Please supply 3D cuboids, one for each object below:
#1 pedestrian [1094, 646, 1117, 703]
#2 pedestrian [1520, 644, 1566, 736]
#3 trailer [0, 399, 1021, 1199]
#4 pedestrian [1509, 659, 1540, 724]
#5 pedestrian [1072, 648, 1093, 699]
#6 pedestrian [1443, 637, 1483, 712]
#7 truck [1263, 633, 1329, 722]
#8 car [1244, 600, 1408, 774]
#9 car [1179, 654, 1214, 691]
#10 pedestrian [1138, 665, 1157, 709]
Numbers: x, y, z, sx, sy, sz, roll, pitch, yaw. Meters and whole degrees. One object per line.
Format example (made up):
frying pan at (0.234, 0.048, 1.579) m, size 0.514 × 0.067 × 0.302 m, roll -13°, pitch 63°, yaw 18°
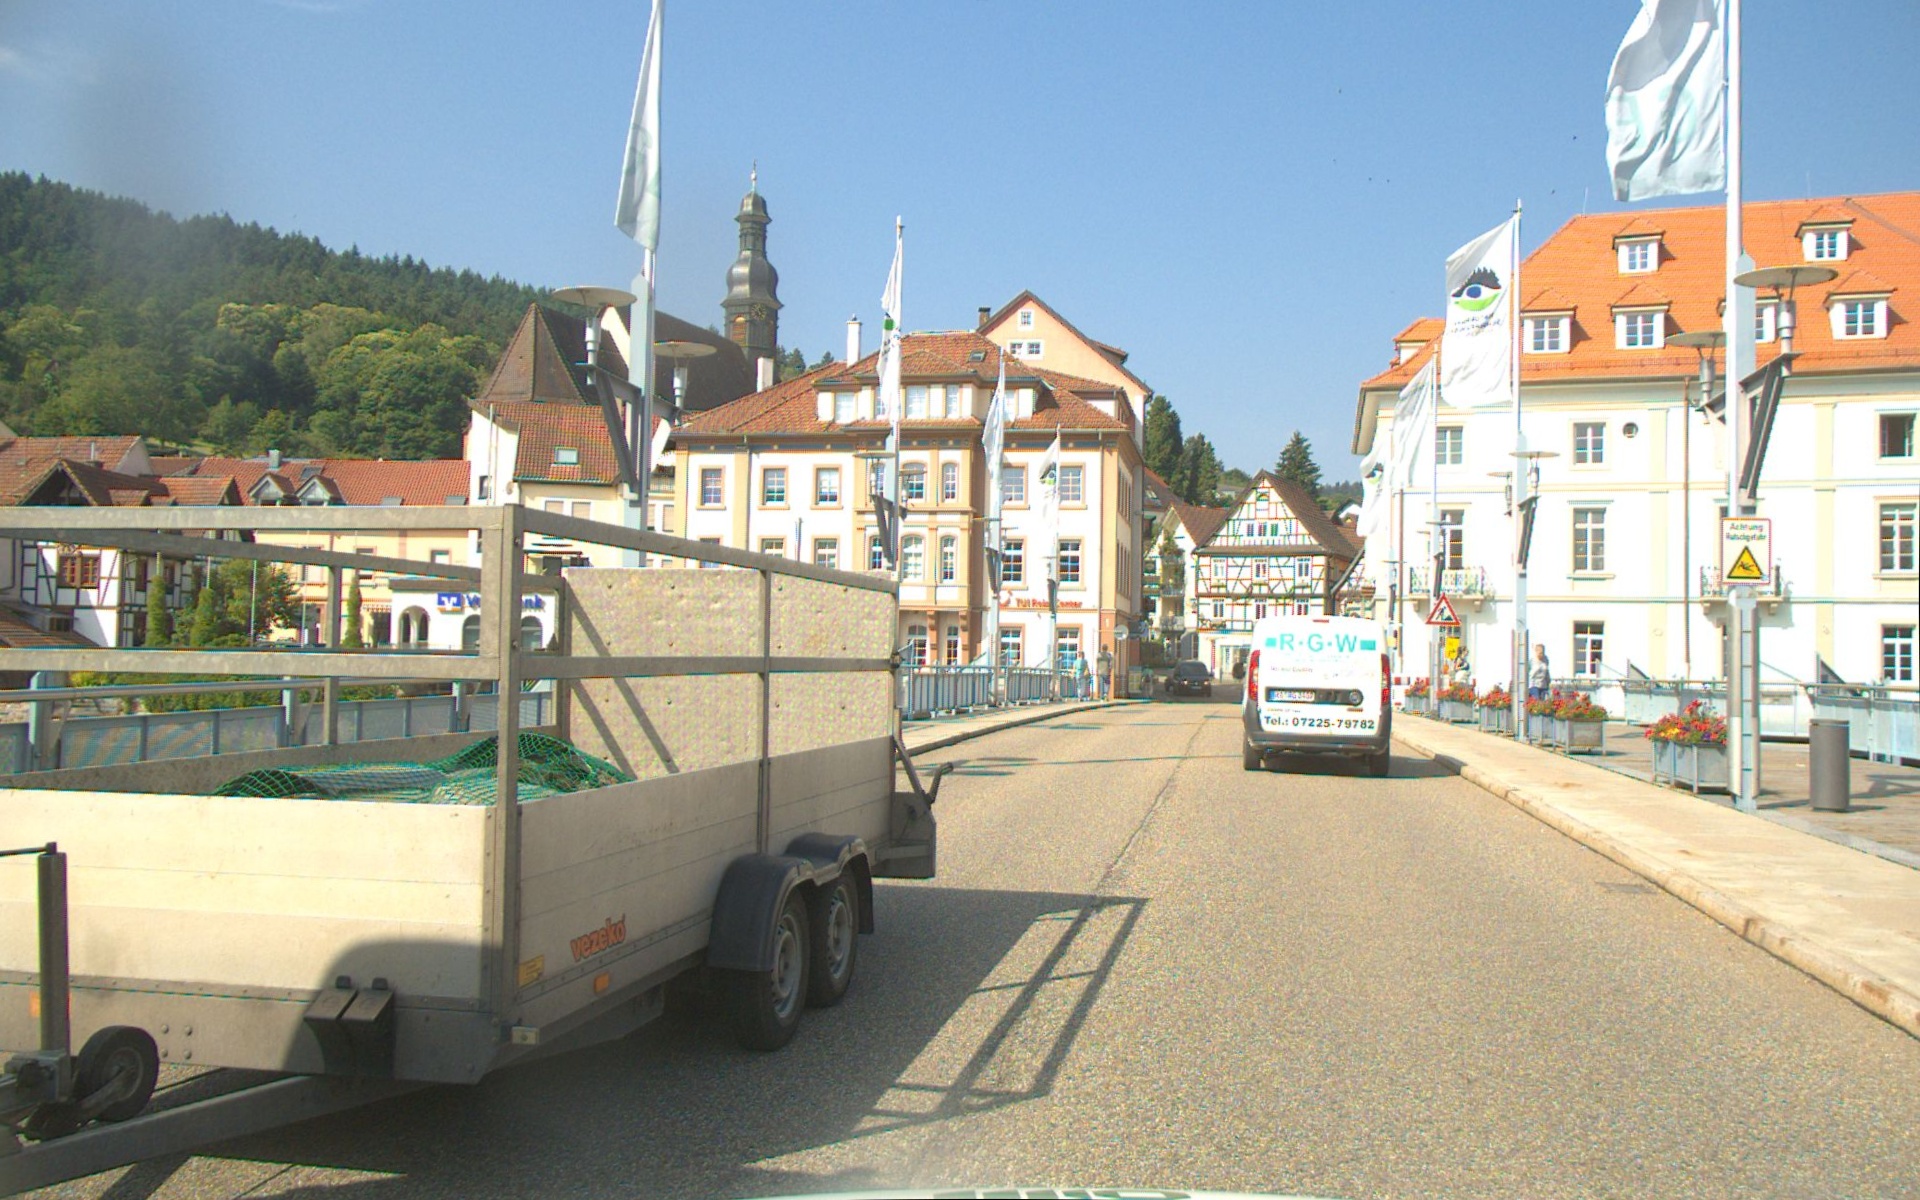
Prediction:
pedestrian at (4.737, 2.417, 53.868) m, size 0.601 × 1.793 × 0.864 m, roll 2°, pitch -2°, yaw 10°
pedestrian at (10.769, 1.654, 30.568) m, size 0.652 × 1.647 × 0.563 m, roll 1°, pitch -2°, yaw 6°
trailer at (-1.534, 0.606, 6.138) m, size 2.555 × 1.860 × 5.642 m, roll 0°, pitch -1°, yaw 12°
pedestrian at (11.135, 1.802, 32.634) m, size 0.442 × 1.266 × 0.626 m, roll 1°, pitch -3°, yaw 5°
pedestrian at (4.000, 2.390, 54.079) m, size 0.571 × 1.638 × 0.537 m, roll 2°, pitch -2°, yaw 9°
pedestrian at (12.047, 1.772, 39.587) m, size 0.731 × 1.753 × 0.726 m, roll 0°, pitch -2°, yaw 31°
truck at (10.541, 2.435, 52.059) m, size 1.821 × 2.631 × 4.263 m, roll 1°, pitch -2°, yaw 9°
car at (4.596, 1.102, 21.227) m, size 1.805 × 1.940 × 4.317 m, roll 2°, pitch -3°, yaw 10°
car at (12.544, 3.823, 87.535) m, size 1.739 × 1.824 × 4.700 m, roll 2°, pitch -2°, yaw 8°
pedestrian at (8.283, 3.847, 73.110) m, size 0.786 × 1.890 × 0.616 m, roll 1°, pitch -2°, yaw 9°
